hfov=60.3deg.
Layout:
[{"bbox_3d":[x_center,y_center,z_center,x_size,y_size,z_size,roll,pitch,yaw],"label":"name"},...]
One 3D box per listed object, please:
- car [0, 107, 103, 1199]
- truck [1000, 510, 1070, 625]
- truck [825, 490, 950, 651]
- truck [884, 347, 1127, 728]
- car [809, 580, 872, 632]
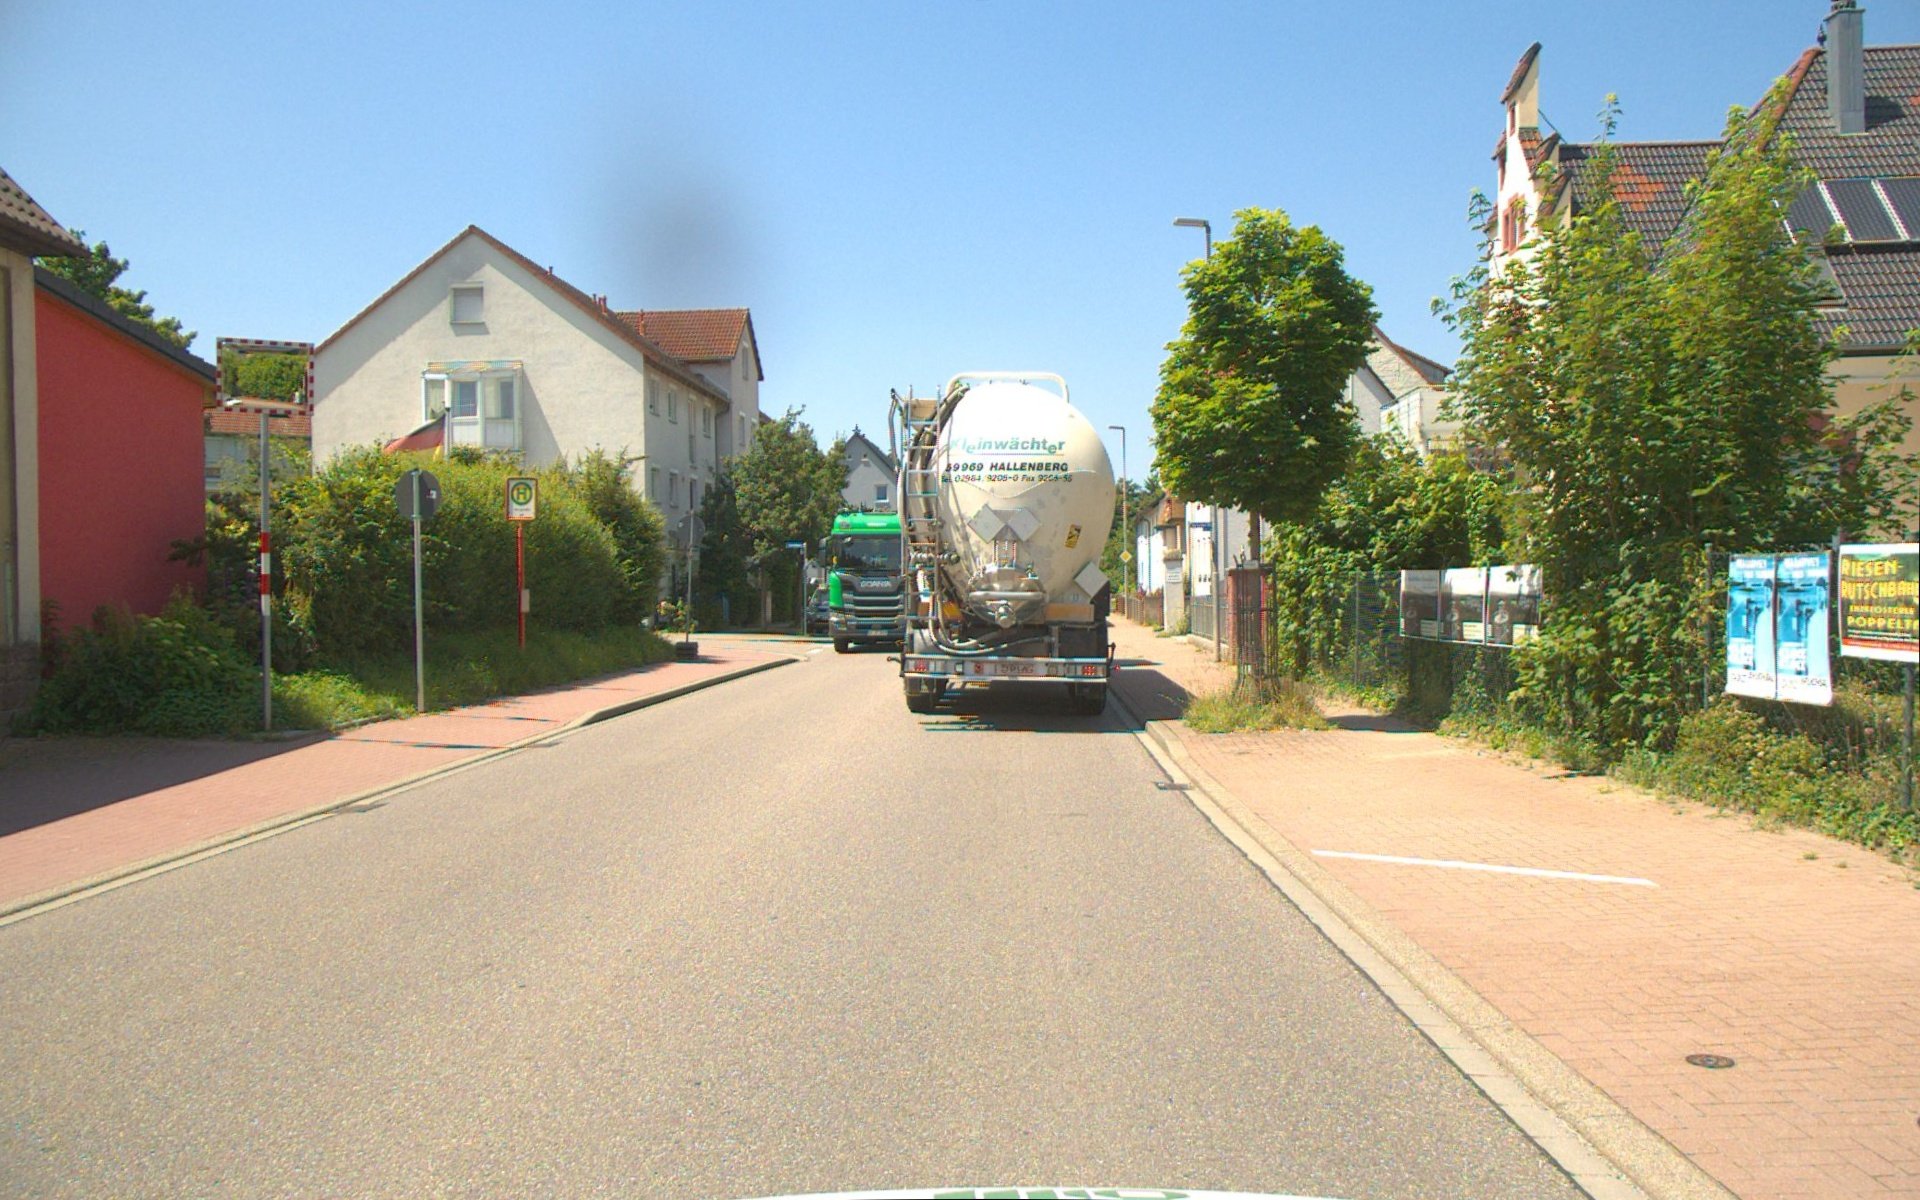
[{"bbox_3d":[-2.939,0.276,0.669,1.988,2.503,6.067,-2,0,-1],"label":"car"},{"bbox_3d":[2.992,-1.271,67.930,2.586,4.298,12.097,0,0,2],"label":"truck"},{"bbox_3d":[-1.757,-0.754,44.496,2.514,3.765,10.081,-2,0,2],"label":"truck"},{"bbox_3d":[0.484,-0.713,22.628,2.587,4.086,9.561,0,0,0],"label":"truck"},{"bbox_3d":[-4.031,0.168,56.529,1.670,1.716,4.527,0,0,2],"label":"car"}]
